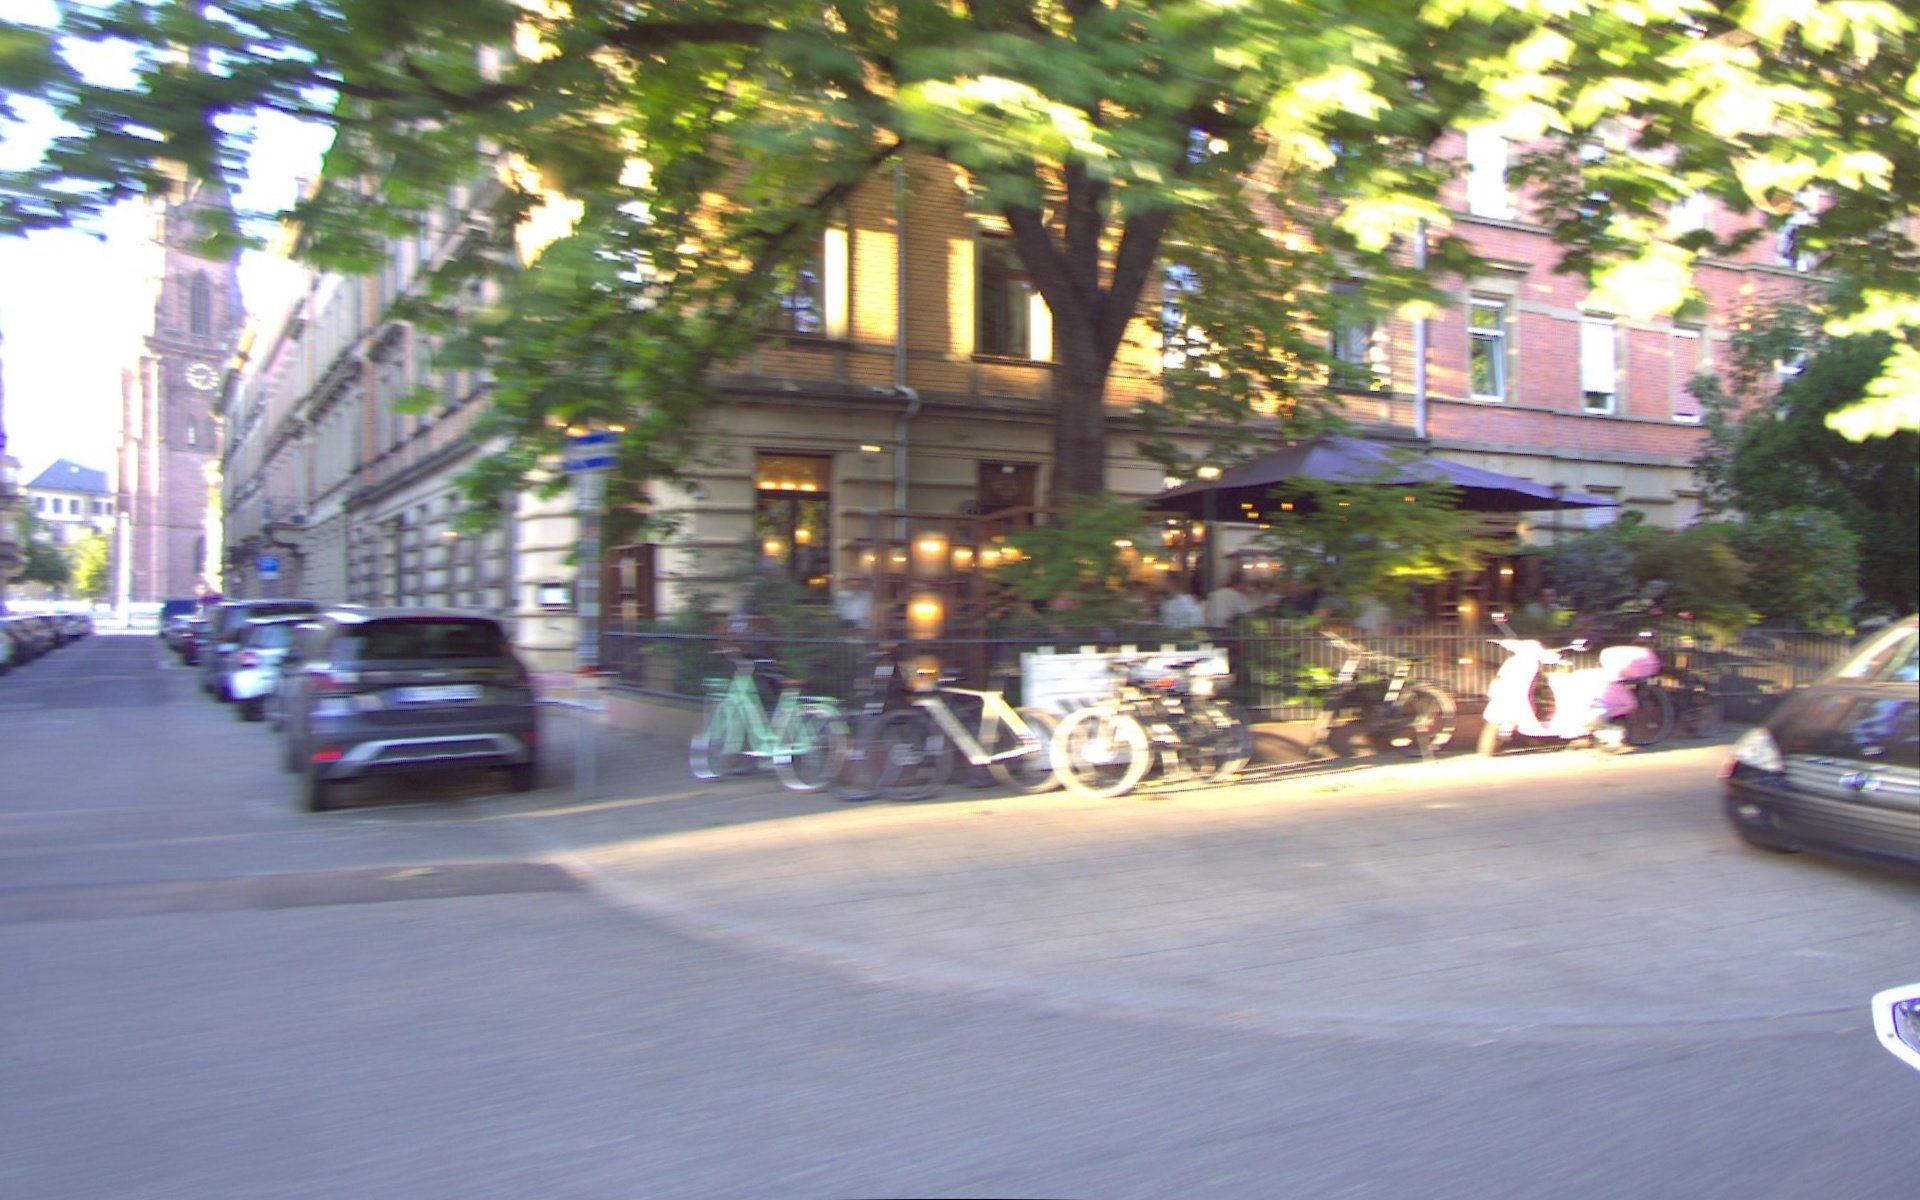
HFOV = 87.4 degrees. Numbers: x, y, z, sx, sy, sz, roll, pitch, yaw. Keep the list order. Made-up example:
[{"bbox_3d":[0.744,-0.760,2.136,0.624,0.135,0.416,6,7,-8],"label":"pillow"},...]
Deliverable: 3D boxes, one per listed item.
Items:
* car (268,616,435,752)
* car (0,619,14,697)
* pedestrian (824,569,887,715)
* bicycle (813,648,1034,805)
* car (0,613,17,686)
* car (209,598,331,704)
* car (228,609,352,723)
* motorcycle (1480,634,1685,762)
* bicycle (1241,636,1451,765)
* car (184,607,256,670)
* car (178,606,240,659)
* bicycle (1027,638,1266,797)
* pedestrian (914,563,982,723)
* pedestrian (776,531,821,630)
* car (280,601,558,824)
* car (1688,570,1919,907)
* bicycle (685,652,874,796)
[{"bbox_3d":[-8.008,0.974,13.098,1.454,1.478,3.296,-1,0,-39],"label":"car"},{"bbox_3d":[-18.924,1.111,18.683,1.565,1.478,4.375,-1,-1,-39],"label":"car"},{"bbox_3d":[-1.080,0.428,10.401,0.423,1.470,0.461,-1,0,40],"label":"pedestrian"},{"bbox_3d":[-0.286,0.971,7.985,1.717,1.159,0.391,0,-2,-16],"label":"bicycle"},{"bbox_3d":[-22.451,1.123,22.526,1.565,1.593,4.074,-1,-1,-39],"label":"car"},{"bbox_3d":[-13.387,0.924,19.408,1.674,1.847,3.449,-1,-1,-39],"label":"car"},{"bbox_3d":[-10.863,0.993,16.207,1.454,1.615,3.298,-1,-1,-37],"label":"car"},{"bbox_3d":[6.136,0.944,9.902,1.921,1.201,0.392,1,1,-10],"label":"motorcycle"},{"bbox_3d":[3.673,0.937,9.566,1.921,1.159,0.392,0,2,-10],"label":"bicycle"},{"bbox_3d":[-23.469,1.193,31.807,1.674,1.847,3.449,-1,-1,-39],"label":"car"},{"bbox_3d":[-27.633,1.174,36.913,1.674,1.847,3.449,-1,-1,-39],"label":"car"},{"bbox_3d":[1.535,0.925,8.225,1.924,1.202,0.391,0,3,-16],"label":"bicycle"},{"bbox_3d":[-0.112,0.399,9.573,0.423,1.470,0.461,-1,0,40],"label":"pedestrian"},{"bbox_3d":[-2.408,-0.281,14.964,0.459,1.431,0.519,-1,0,-33],"label":"pedestrian"},{"bbox_3d":[-5.064,0.838,9.147,1.618,1.566,3.816,-1,-1,-38],"label":"car"},{"bbox_3d":[6.531,0.695,6.045,3.789,1.700,1.661,0,2,-21],"label":"car"},{"bbox_3d":[-1.572,1.011,8.581,1.797,1.113,0.391,-1,0,33],"label":"bicycle"}]
